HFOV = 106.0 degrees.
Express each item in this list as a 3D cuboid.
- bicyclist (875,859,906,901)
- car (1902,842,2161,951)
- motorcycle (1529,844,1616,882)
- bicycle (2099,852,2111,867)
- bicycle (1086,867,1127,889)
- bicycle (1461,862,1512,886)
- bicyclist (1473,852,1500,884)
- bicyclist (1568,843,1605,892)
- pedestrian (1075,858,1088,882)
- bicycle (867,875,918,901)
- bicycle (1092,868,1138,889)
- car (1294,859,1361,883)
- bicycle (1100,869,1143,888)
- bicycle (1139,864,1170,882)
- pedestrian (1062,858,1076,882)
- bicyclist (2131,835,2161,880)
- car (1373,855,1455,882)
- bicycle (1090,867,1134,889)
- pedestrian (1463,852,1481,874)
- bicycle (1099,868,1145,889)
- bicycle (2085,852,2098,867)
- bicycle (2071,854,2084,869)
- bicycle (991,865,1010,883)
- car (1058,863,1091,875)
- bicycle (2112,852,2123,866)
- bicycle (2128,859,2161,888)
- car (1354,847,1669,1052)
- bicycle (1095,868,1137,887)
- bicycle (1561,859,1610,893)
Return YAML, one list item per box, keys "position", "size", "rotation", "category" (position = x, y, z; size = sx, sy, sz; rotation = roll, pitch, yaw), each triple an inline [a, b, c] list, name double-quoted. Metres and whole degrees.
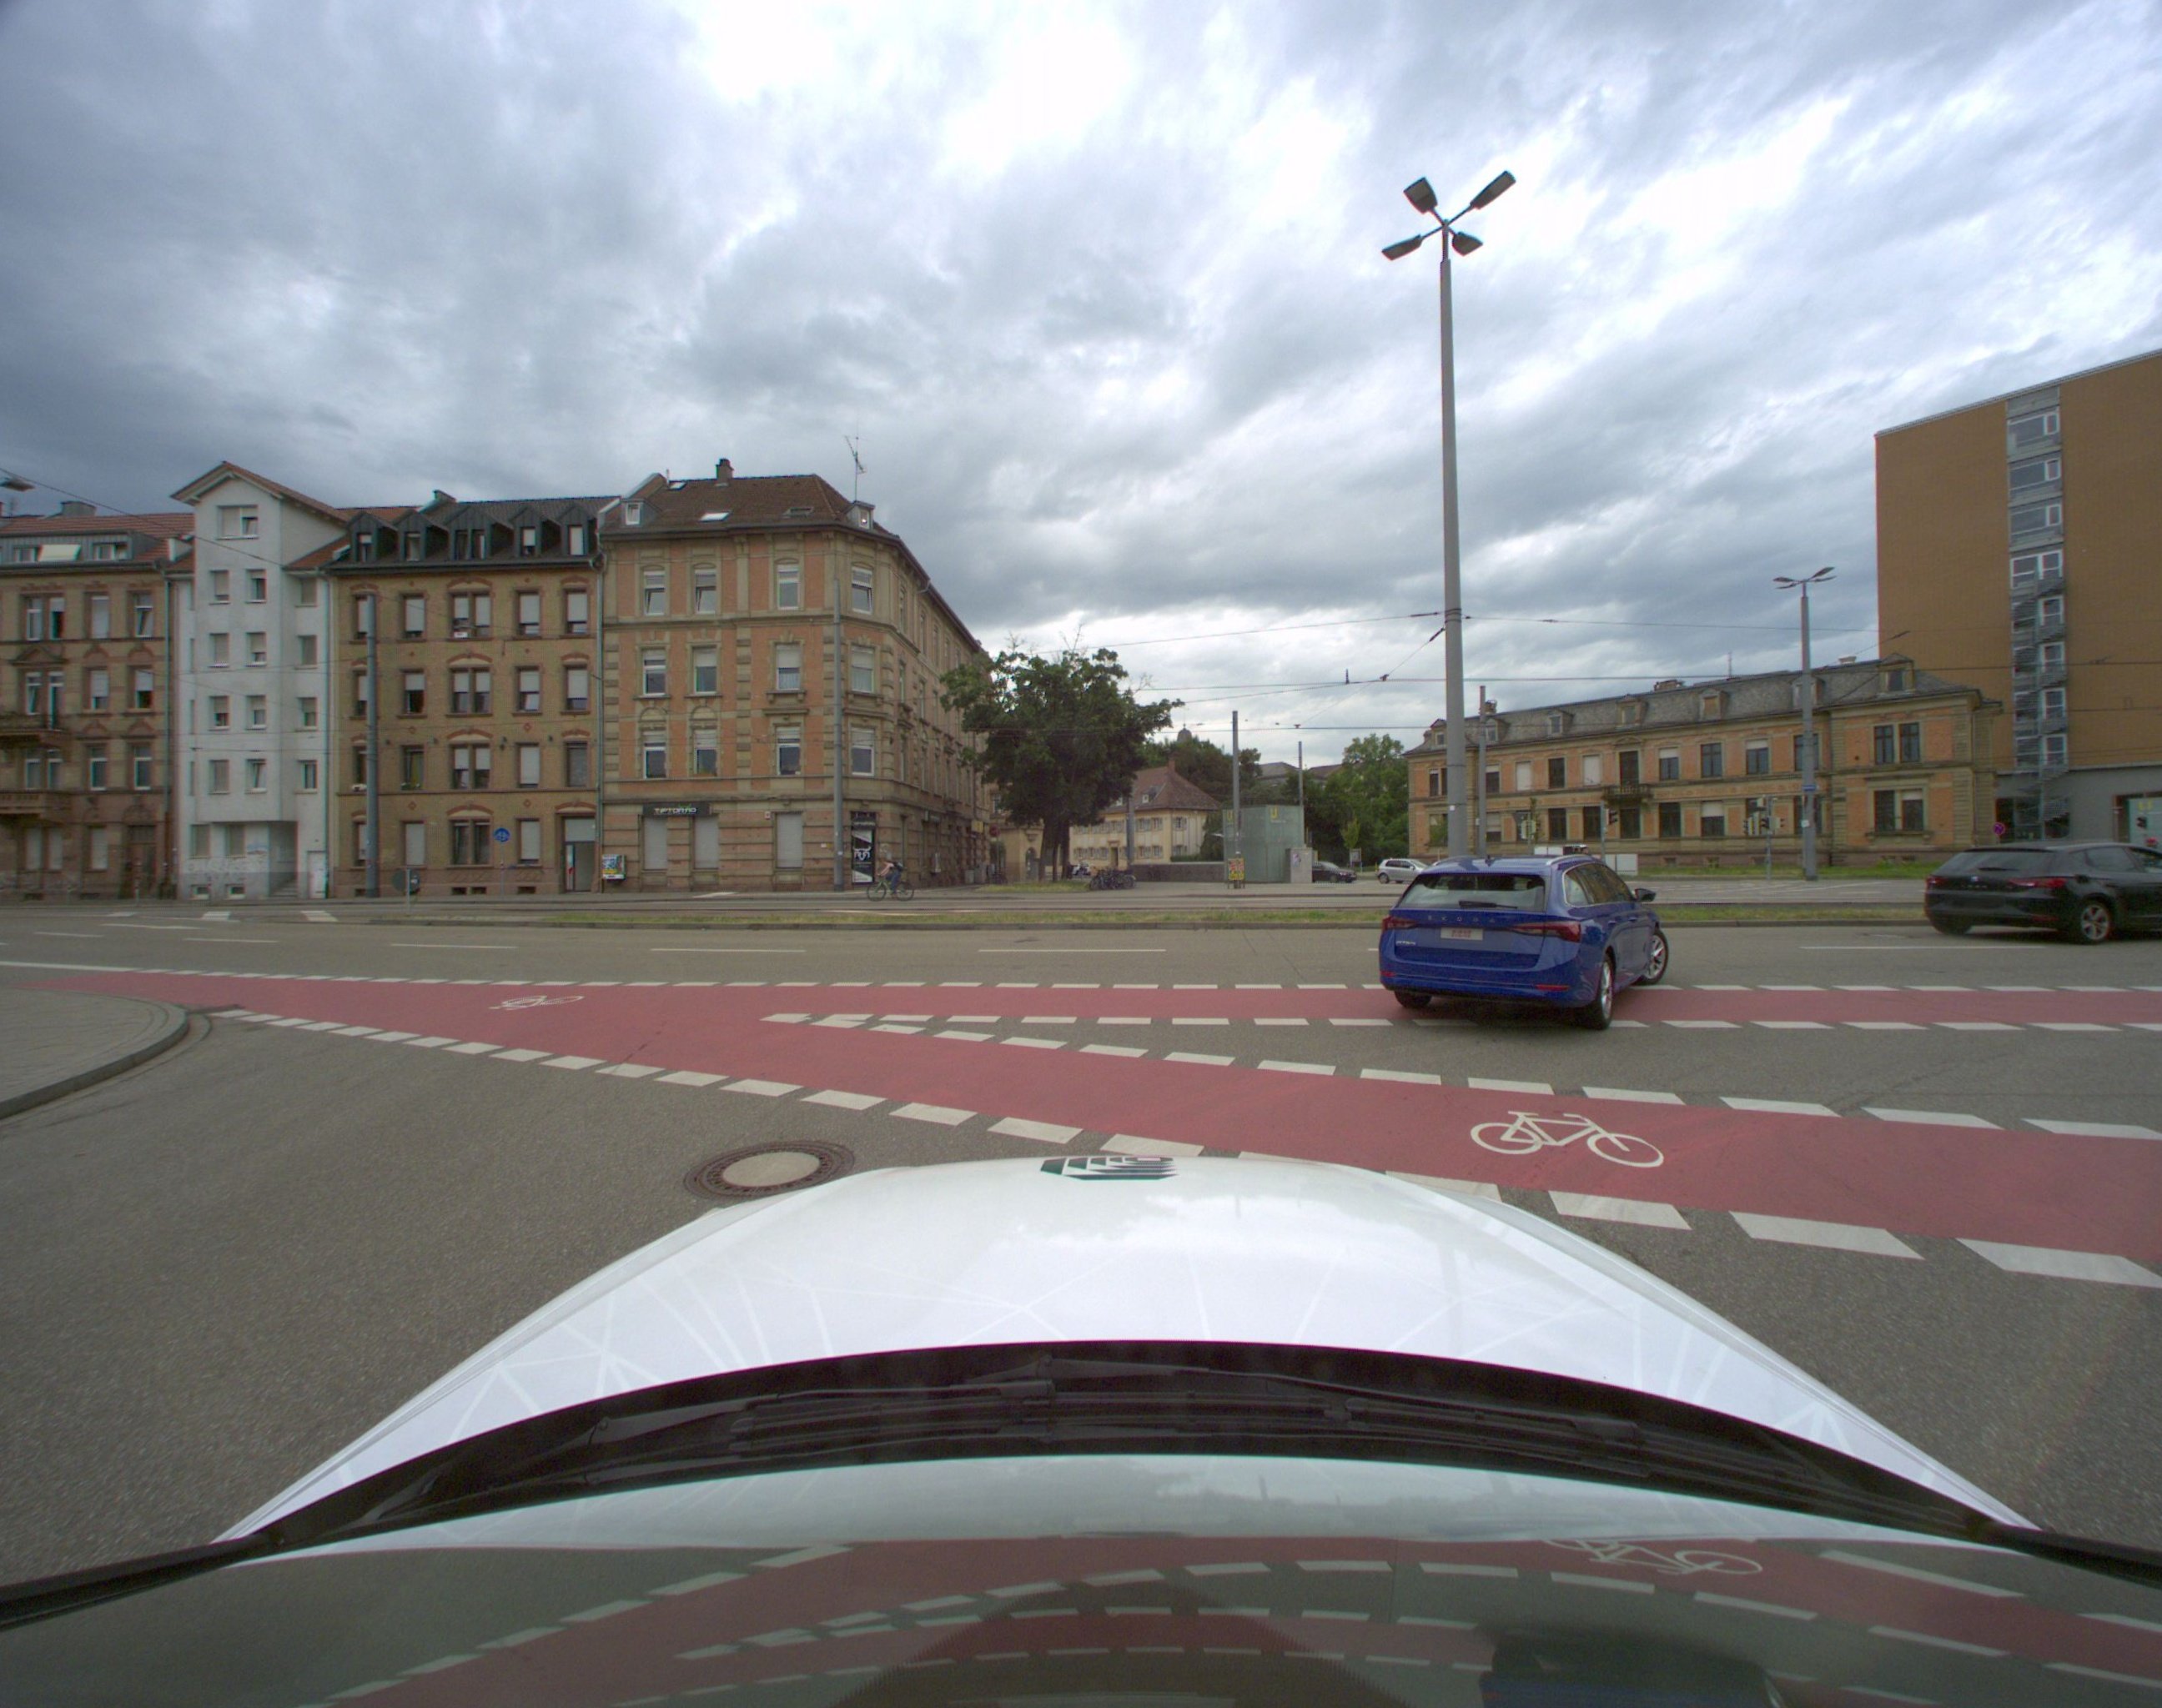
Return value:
- position: [-6.911, 0.920, 29.596]
  size: [0.936, 1.494, 0.663]
  rotation: [-1, 0, 1]
  category: "bicyclist"
- position: [14.839, 0.572, 12.168]
  size: [3.797, 1.449, 1.705]
  rotation: [-1, 0, -8]
  category: "car"
- position: [26.578, 0.486, 44.126]
  size: [1.703, 2.014, 3.646]
  rotation: [0, -1, -36]
  category: "motorcycle"
- position: [76.437, 0.416, 60.779]
  size: [1.435, 1.049, 0.504]
  rotation: [0, -1, -38]
  category: "bicycle"
- position: [1.209, 1.135, 38.339]
  size: [1.850, 0.987, 0.502]
  rotation: [-1, -1, 13]
  category: "bicycle"
- position: [20.822, 1.009, 41.837]
  size: [0.861, 1.208, 2.174]
  rotation: [0, -1, -35]
  category: "bicycle"
- position: [20.826, 0.713, 41.841]
  size: [0.859, 1.623, 0.907]
  rotation: [1, -2, -35]
  category: "bicyclist"
- position: [19.375, 0.521, 31.234]
  size: [0.809, 1.798, 1.031]
  rotation: [-2, -1, 7]
  category: "bicyclist"
- position: [0.014, 1.188, 61.227]
  size: [0.839, 1.722, 0.954]
  rotation: [-1, 0, 8]
  category: "pedestrian"
- position: [-6.838, 1.224, 29.608]
  size: [1.708, 0.915, 0.608]
  rotation: [-1, 0, 0]
  category: "bicycle"
- position: [1.650, 1.190, 39.599]
  size: [2.197, 1.006, 0.482]
  rotation: [-1, -1, 14]
  category: "bicycle"
- position: [15.823, 1.090, 52.492]
  size: [1.702, 1.449, 4.103]
  rotation: [-1, 0, -30]
  category: "car"
- position: [2.130, 1.302, 43.231]
  size: [2.197, 0.987, 0.587]
  rotation: [-1, -1, 14]
  category: "bicycle"
- position: [4.825, 1.239, 53.850]
  size: [0.743, 1.115, 2.339]
  rotation: [0, 0, -33]
  category: "bicycle"
- position: [-0.900, 1.157, 59.548]
  size: [0.839, 1.722, 0.954]
  rotation: [-1, 0, 8]
  category: "pedestrian"
- position: [46.005, 0.161, 34.938]
  size: [1.049, 1.892, 0.826]
  rotation: [0, -2, -20]
  category: "bicyclist"
- position: [19.320, 0.851, 47.411]
  size: [1.769, 1.454, 4.116]
  rotation: [-1, -1, -34]
  category: "car"
- position: [1.467, 1.150, 39.059]
  size: [2.016, 0.987, 0.524]
  rotation: [-1, -1, 14]
  category: "bicycle"
- position: [31.260, 0.743, 65.072]
  size: [1.113, 1.763, 0.763]
  rotation: [-1, -1, 43]
  category: "pedestrian"
- position: [2.046, 1.222, 40.305]
  size: [2.197, 0.987, 0.502]
  rotation: [-1, -1, 14]
  category: "bicycle"
- position: [76.037, 0.422, 61.304]
  size: [1.435, 1.106, 0.566]
  rotation: [0, -1, -38]
  category: "bicycle"
- position: [75.606, 0.560, 61.813]
  size: [1.435, 1.106, 0.566]
  rotation: [0, -1, -38]
  category: "bicycle"
- position: [-4.307, 1.067, 43.675]
  size: [0.657, 0.914, 1.992]
  rotation: [-1, 0, 4]
  category: "bicycle"
- position: [-0.790, 1.786, 97.468]
  size: [1.705, 1.449, 4.139]
  rotation: [-1, 0, -38]
  category: "car"
- position: [76.838, 0.387, 60.344]
  size: [1.435, 1.049, 0.476]
  rotation: [0, -1, -38]
  category: "bicycle"
- position: [46.140, 0.842, 34.957]
  size: [2.235, 1.208, 0.821]
  rotation: [0, -2, -21]
  category: "bicycle"
- position: [4.543, 0.713, 8.200]
  size: [1.763, 1.488, 4.493]
  rotation: [-1, -1, 42]
  category: "car"
- position: [1.910, 1.264, 44.442]
  size: [2.197, 0.987, 0.587]
  rotation: [-1, -1, 14]
  category: "bicycle"
- position: [19.391, 0.859, 31.362]
  size: [0.809, 1.243, 2.004]
  rotation: [-2, -2, 7]
  category: "bicycle"
